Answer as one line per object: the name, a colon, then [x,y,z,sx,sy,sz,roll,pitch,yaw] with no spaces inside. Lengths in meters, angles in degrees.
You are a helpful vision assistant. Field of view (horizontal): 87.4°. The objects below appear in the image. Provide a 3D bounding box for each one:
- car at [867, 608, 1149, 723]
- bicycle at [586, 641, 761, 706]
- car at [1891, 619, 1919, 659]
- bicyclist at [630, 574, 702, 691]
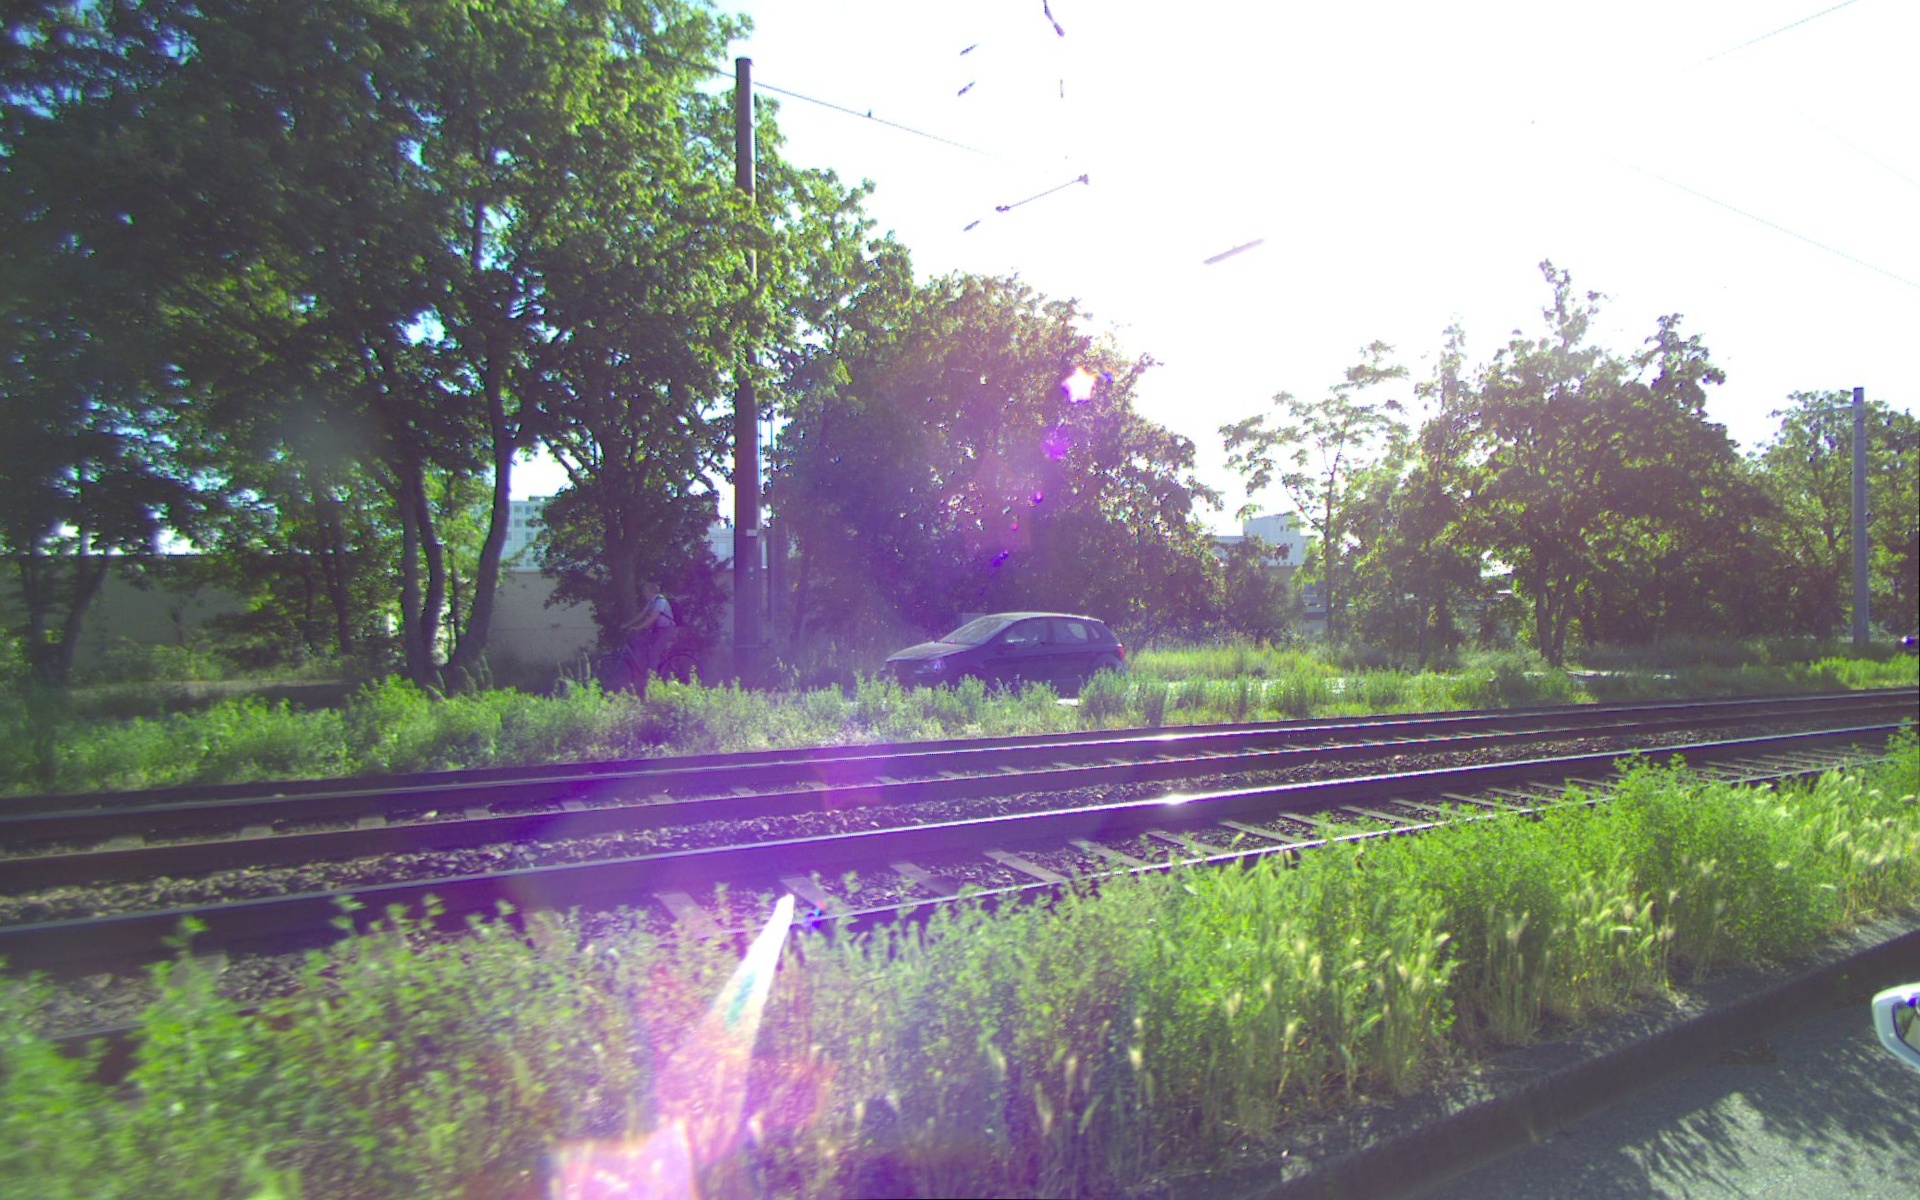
car: [0.758,0.906,15.056,3.954,1.499,1.702,1,0,-31]
bicycle: [-4.463,1.116,15.719,2.507,0.926,0.814,1,0,-30]
car: [43.236,1.723,44.117,4.408,1.725,1.997,1,0,-27]
bicyclist: [-4.579,0.489,15.638,0.892,1.759,0.815,1,0,-30]
